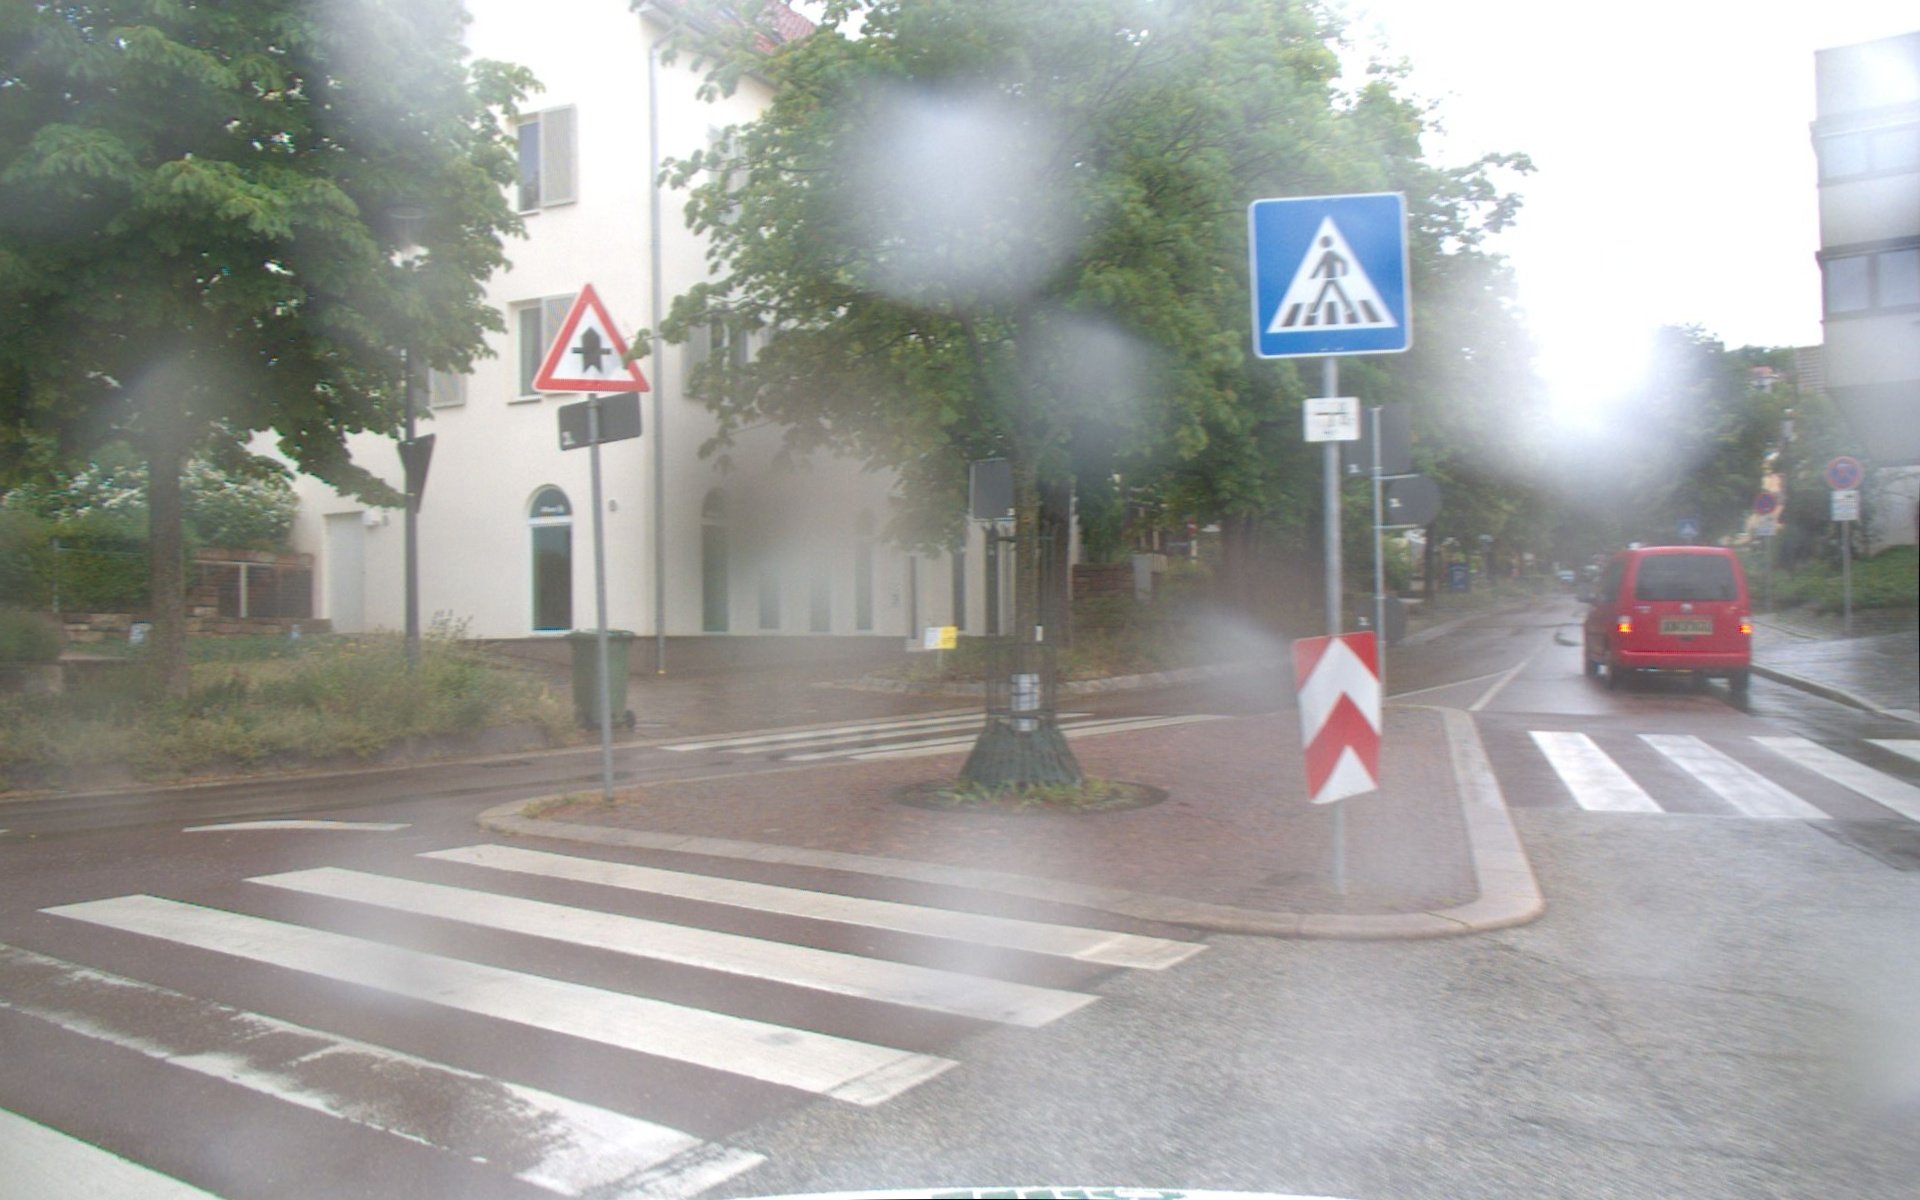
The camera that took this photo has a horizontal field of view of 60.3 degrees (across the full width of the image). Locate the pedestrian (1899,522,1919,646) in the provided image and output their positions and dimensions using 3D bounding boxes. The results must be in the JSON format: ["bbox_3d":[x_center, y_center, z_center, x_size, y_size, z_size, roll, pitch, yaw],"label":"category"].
[{"bbox_3d":[14.761,-0.253,25.073,0.820,1.862,0.813,-2,0,33],"label":"pedestrian"}]

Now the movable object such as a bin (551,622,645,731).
[{"bbox_3d":[-3.935,0.830,18.000,0.724,1.144,0.649,-3,-1,31],"label":"movable object such as a bin"}]

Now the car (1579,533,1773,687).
[{"bbox_3d":[9.624,0.139,22.542,1.822,1.862,4.188,-2,0,16],"label":"car"}]
